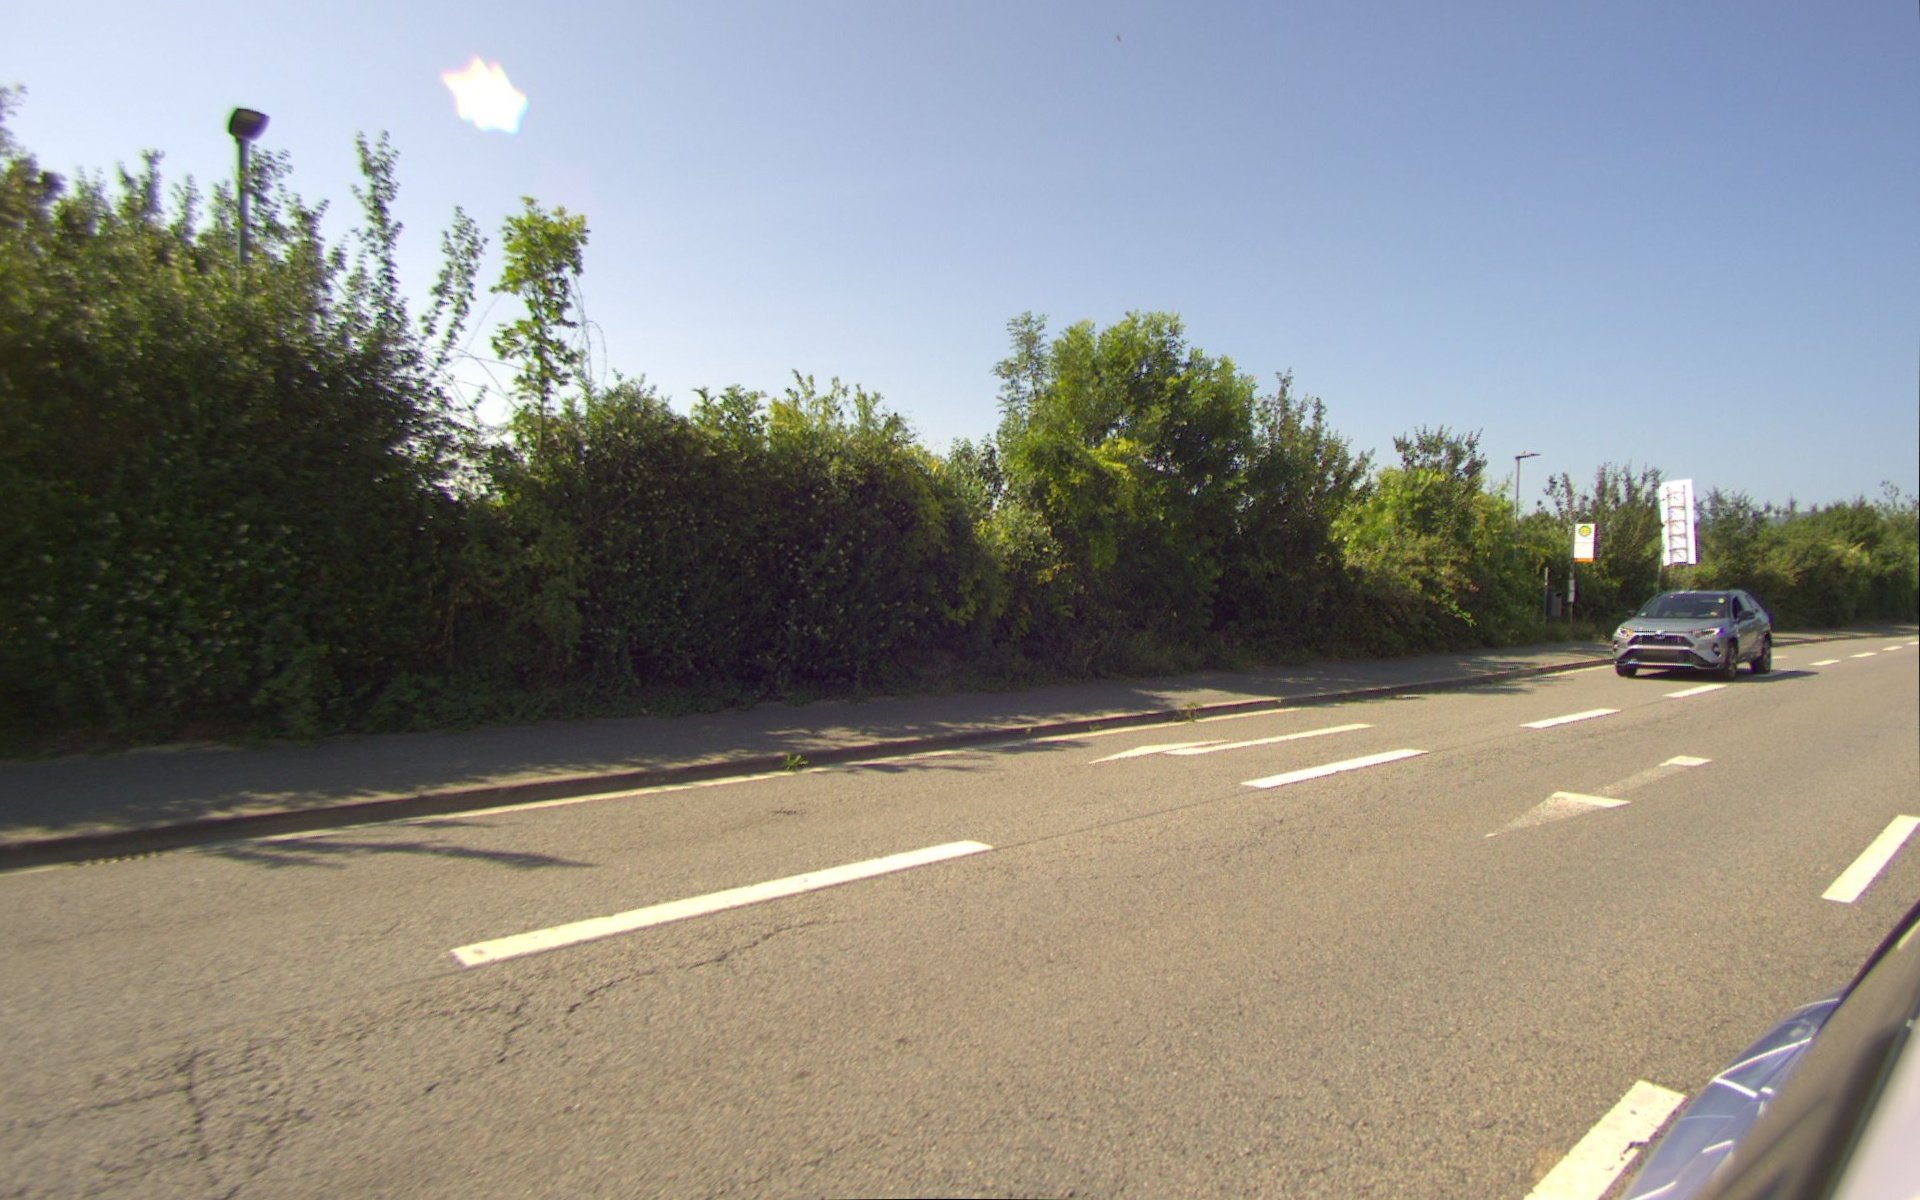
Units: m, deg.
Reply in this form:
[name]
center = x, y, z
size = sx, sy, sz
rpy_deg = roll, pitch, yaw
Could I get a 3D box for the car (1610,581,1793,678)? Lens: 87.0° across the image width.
[car]
center = 14.767, 0.516, 20.068
size = 4.600, 1.701, 1.905
rpy_deg = 0, 0, -40
